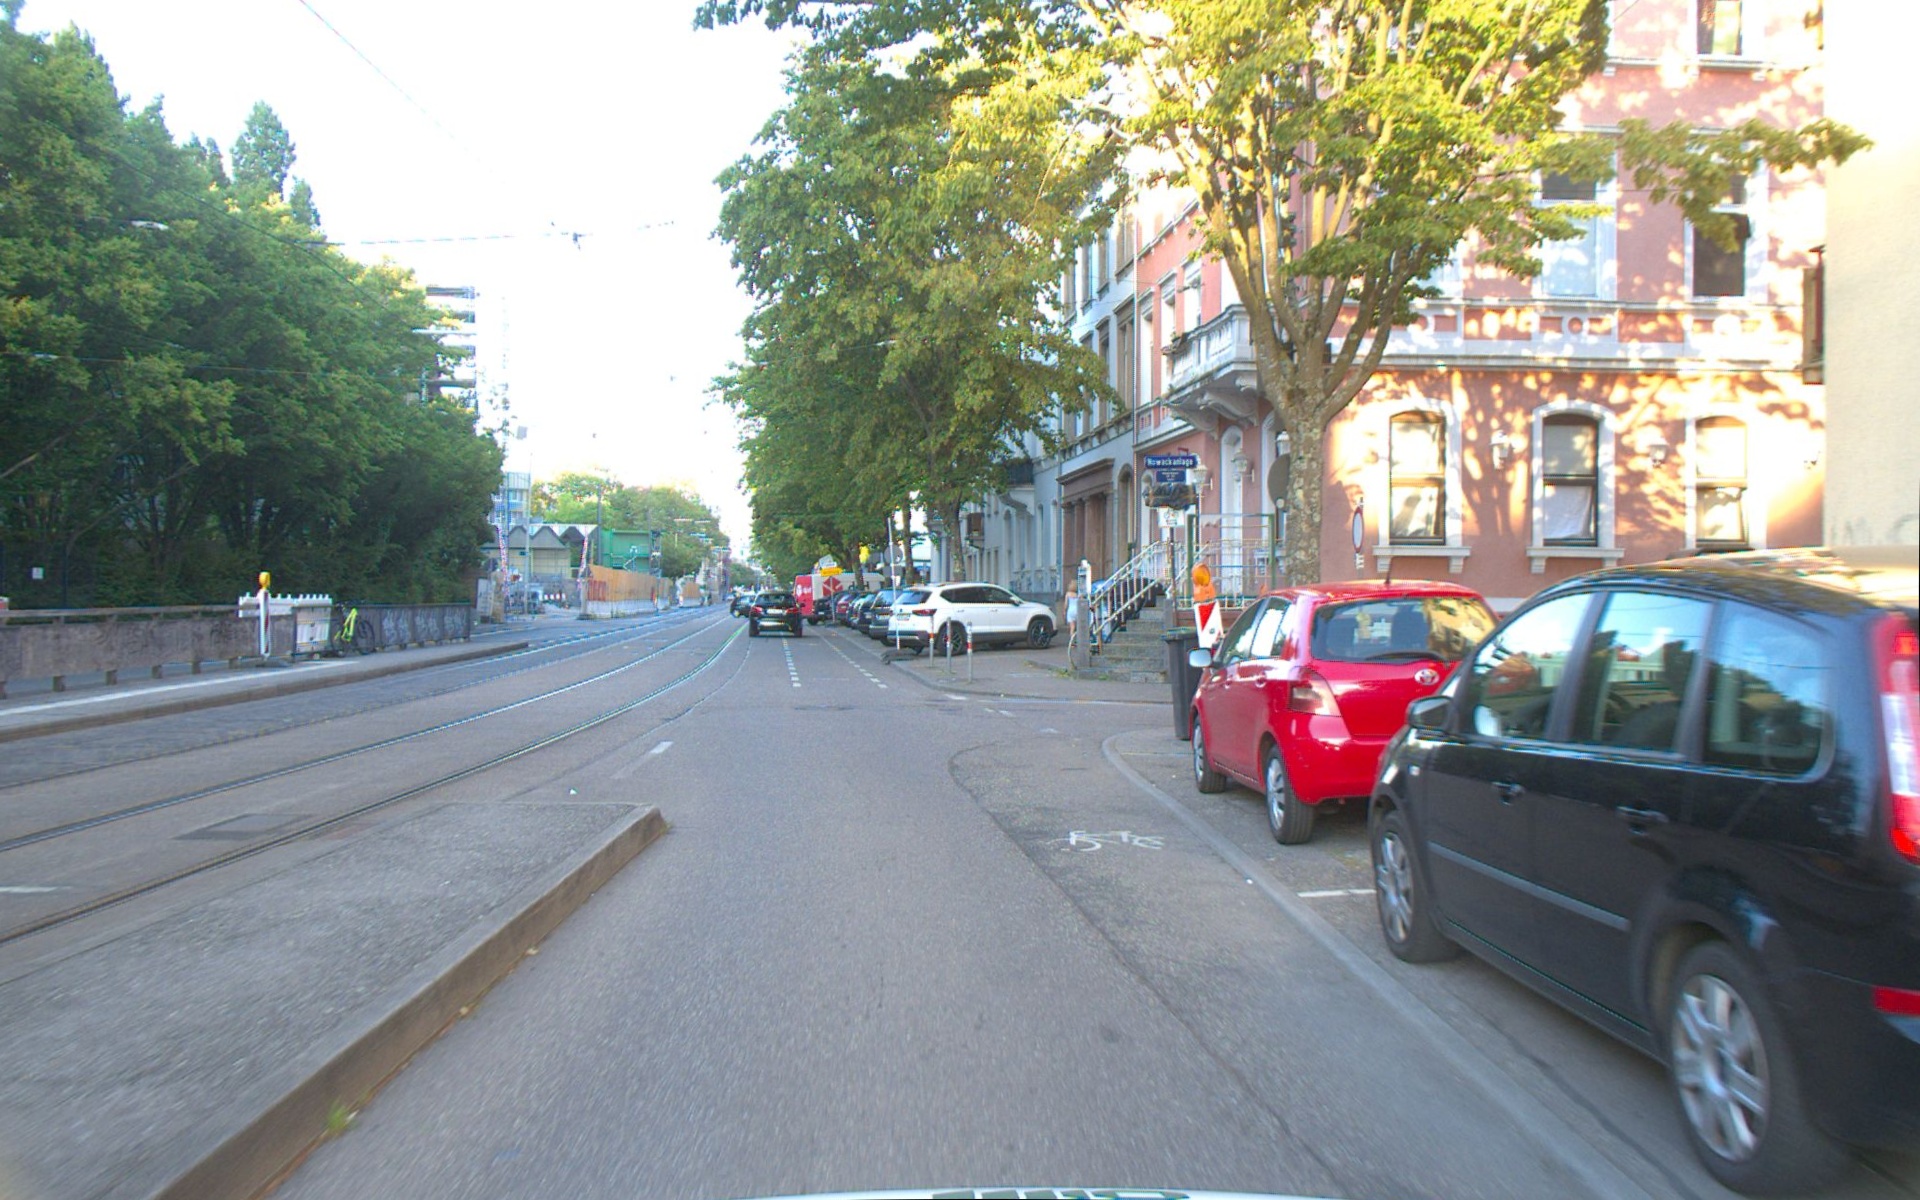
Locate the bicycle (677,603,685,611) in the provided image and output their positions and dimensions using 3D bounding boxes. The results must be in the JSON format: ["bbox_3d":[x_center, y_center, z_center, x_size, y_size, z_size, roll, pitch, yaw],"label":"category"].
[{"bbox_3d":[-31.253,0.753,185.289,0.930,0.864,2.691,-1,0,-9],"label":"bicycle"}]

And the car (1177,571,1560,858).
[{"bbox_3d":[2.556,0.637,11.190,1.533,1.563,3.692,-2,0,-2],"label":"car"}]

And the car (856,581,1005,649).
[{"bbox_3d":[-0.789,0.402,46.373,3.925,1.697,1.871,-3,0,-44],"label":"car"}]

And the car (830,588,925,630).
[{"bbox_3d":[-3.726,0.406,74.863,3.907,1.631,1.819,-4,1,-34],"label":"car"}]

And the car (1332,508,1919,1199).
[{"bbox_3d":[2.678,0.609,5.446,1.709,1.660,4.085,-2,0,-4],"label":"car"}]

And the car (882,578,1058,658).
[{"bbox_3d":[0.257,0.385,38.495,3.914,1.655,1.652,-3,2,-38],"label":"car"}]

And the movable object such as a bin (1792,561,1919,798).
[{"bbox_3d":[6.629,0.511,11.378,1.052,1.528,1.316,0,0,-9],"label":"movable object such as a bin"}]

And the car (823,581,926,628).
[{"bbox_3d":[-3.579,0.188,69.324,3.917,1.631,1.815,-4,0,-39],"label":"car"}]

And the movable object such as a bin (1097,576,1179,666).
[{"bbox_3d":[3.077,0.353,28.680,1.119,1.528,1.397,0,0,-7],"label":"movable object such as a bin"}]

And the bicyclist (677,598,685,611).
[{"bbox_3d":[-31.267,0.501,185.383,0.927,1.369,1.109,-1,-1,-10],"label":"bicyclist"}]

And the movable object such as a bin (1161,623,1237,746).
[{"bbox_3d":[2.339,0.818,16.249,0.697,1.174,0.588,1,0,5],"label":"movable object such as a bin"}]

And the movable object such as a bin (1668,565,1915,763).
[{"bbox_3d":[6.792,0.494,13.612,1.119,1.528,1.596,0,0,-7],"label":"movable object such as a bin"}]

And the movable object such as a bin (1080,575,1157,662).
[{"bbox_3d":[2.876,0.329,30.094,1.119,1.528,1.397,0,0,-7],"label":"movable object such as a bin"}]

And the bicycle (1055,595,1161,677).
[{"bbox_3d":[2.429,0.575,27.076,1.902,1.288,0.592,-1,0,-42],"label":"bicycle"}]

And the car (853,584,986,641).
[{"bbox_3d":[-1.262,0.389,52.416,3.916,1.631,1.815,-2,0,-39],"label":"car"}]

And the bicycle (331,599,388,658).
[{"bbox_3d":[-11.577,0.536,31.929,0.453,1.094,2.021,0,0,-2],"label":"bicycle"}]

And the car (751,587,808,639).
[{"bbox_3d":[-6.276,0.432,57.310,1.846,1.648,3.994,3,0,-7],"label":"car"}]

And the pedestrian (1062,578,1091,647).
[{"bbox_3d":[2.795,0.288,39.639,0.575,1.637,0.624,0,0,-7],"label":"pedestrian"}]

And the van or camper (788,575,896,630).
[{"bbox_3d":[-6.134,0.103,86.505,5.503,2.574,2.055,-4,1,-42],"label":"van or camper"}]
